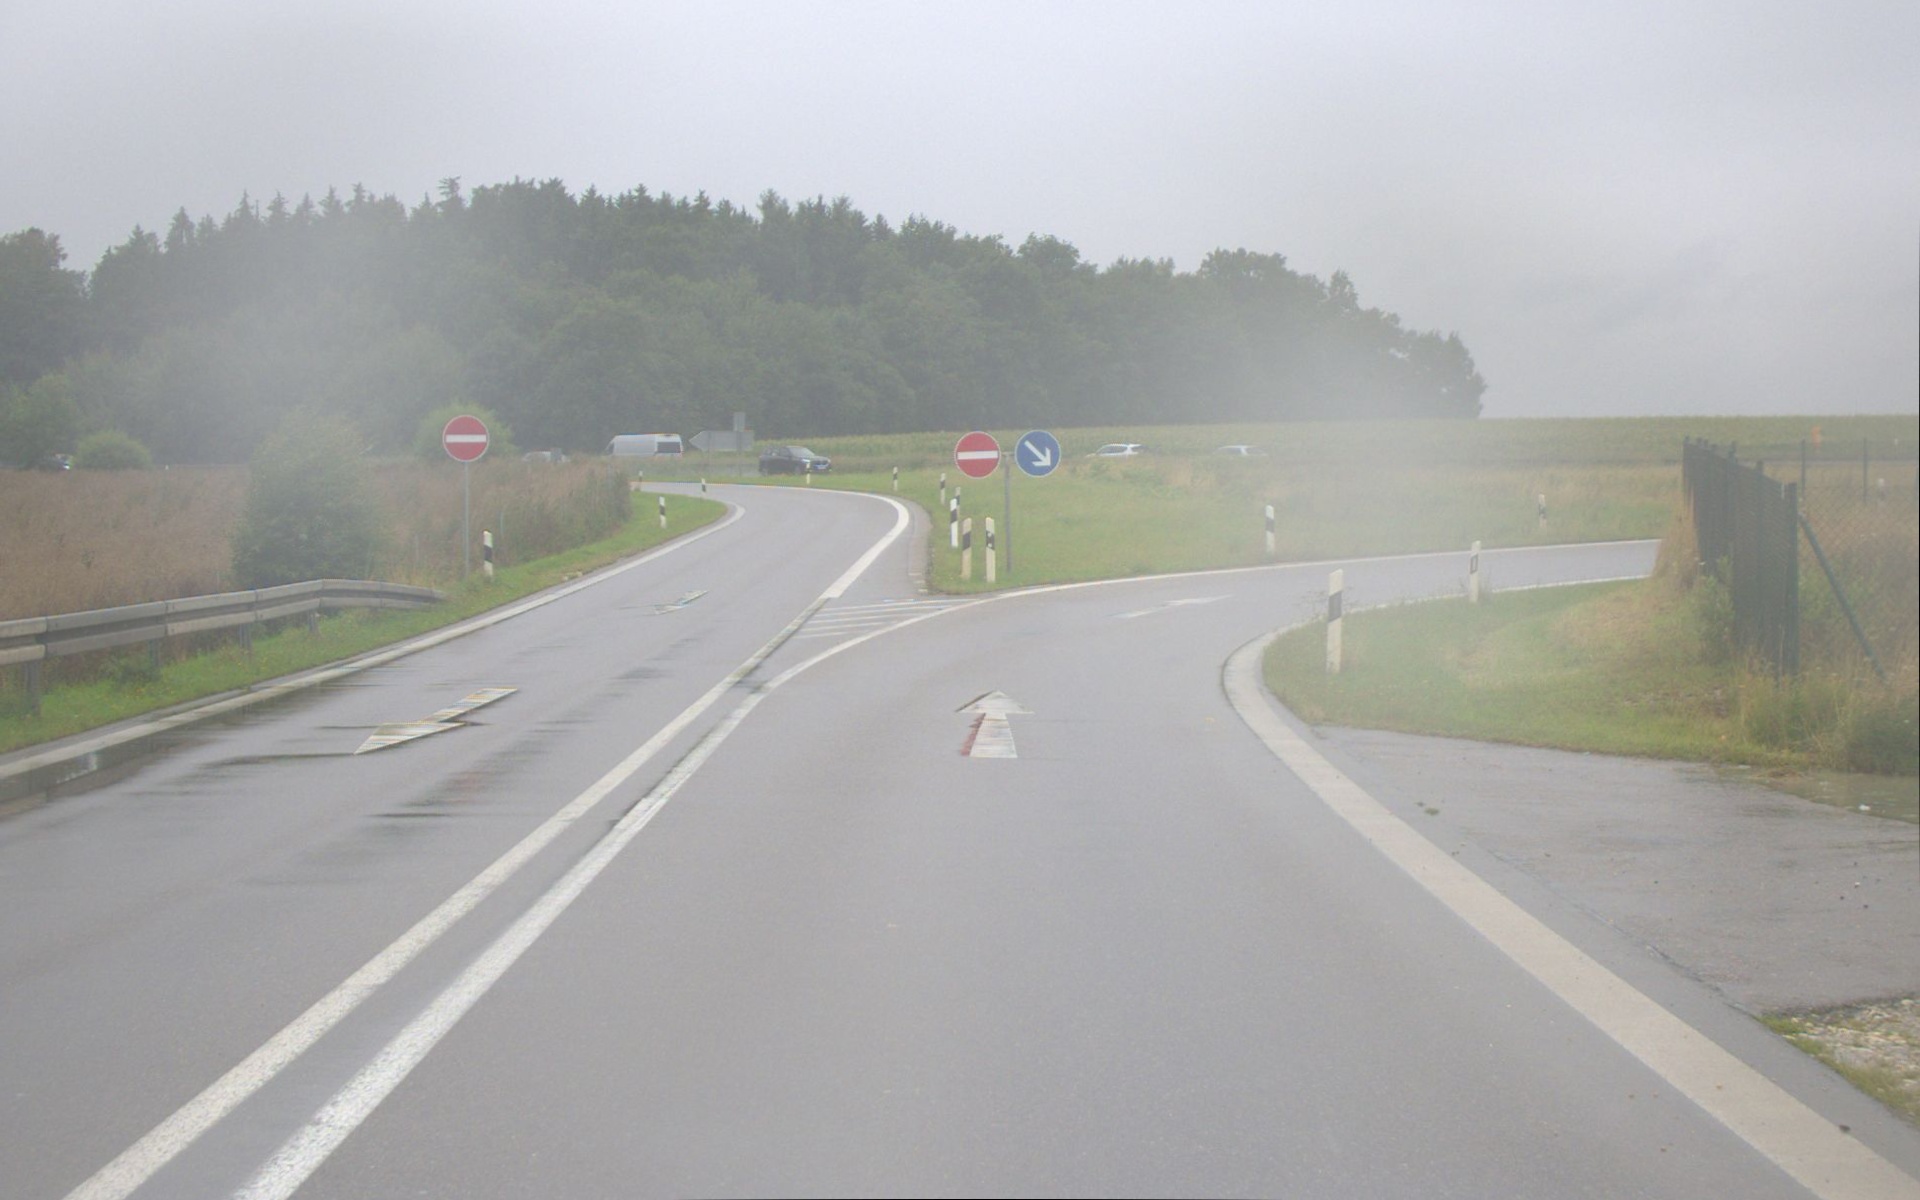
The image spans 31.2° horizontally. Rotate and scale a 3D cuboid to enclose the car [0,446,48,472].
[{"bbox_3d":[-65.456,-9.813,239.639,1.867,1.730,3.998,-4,4,-42],"label":"car"}]
